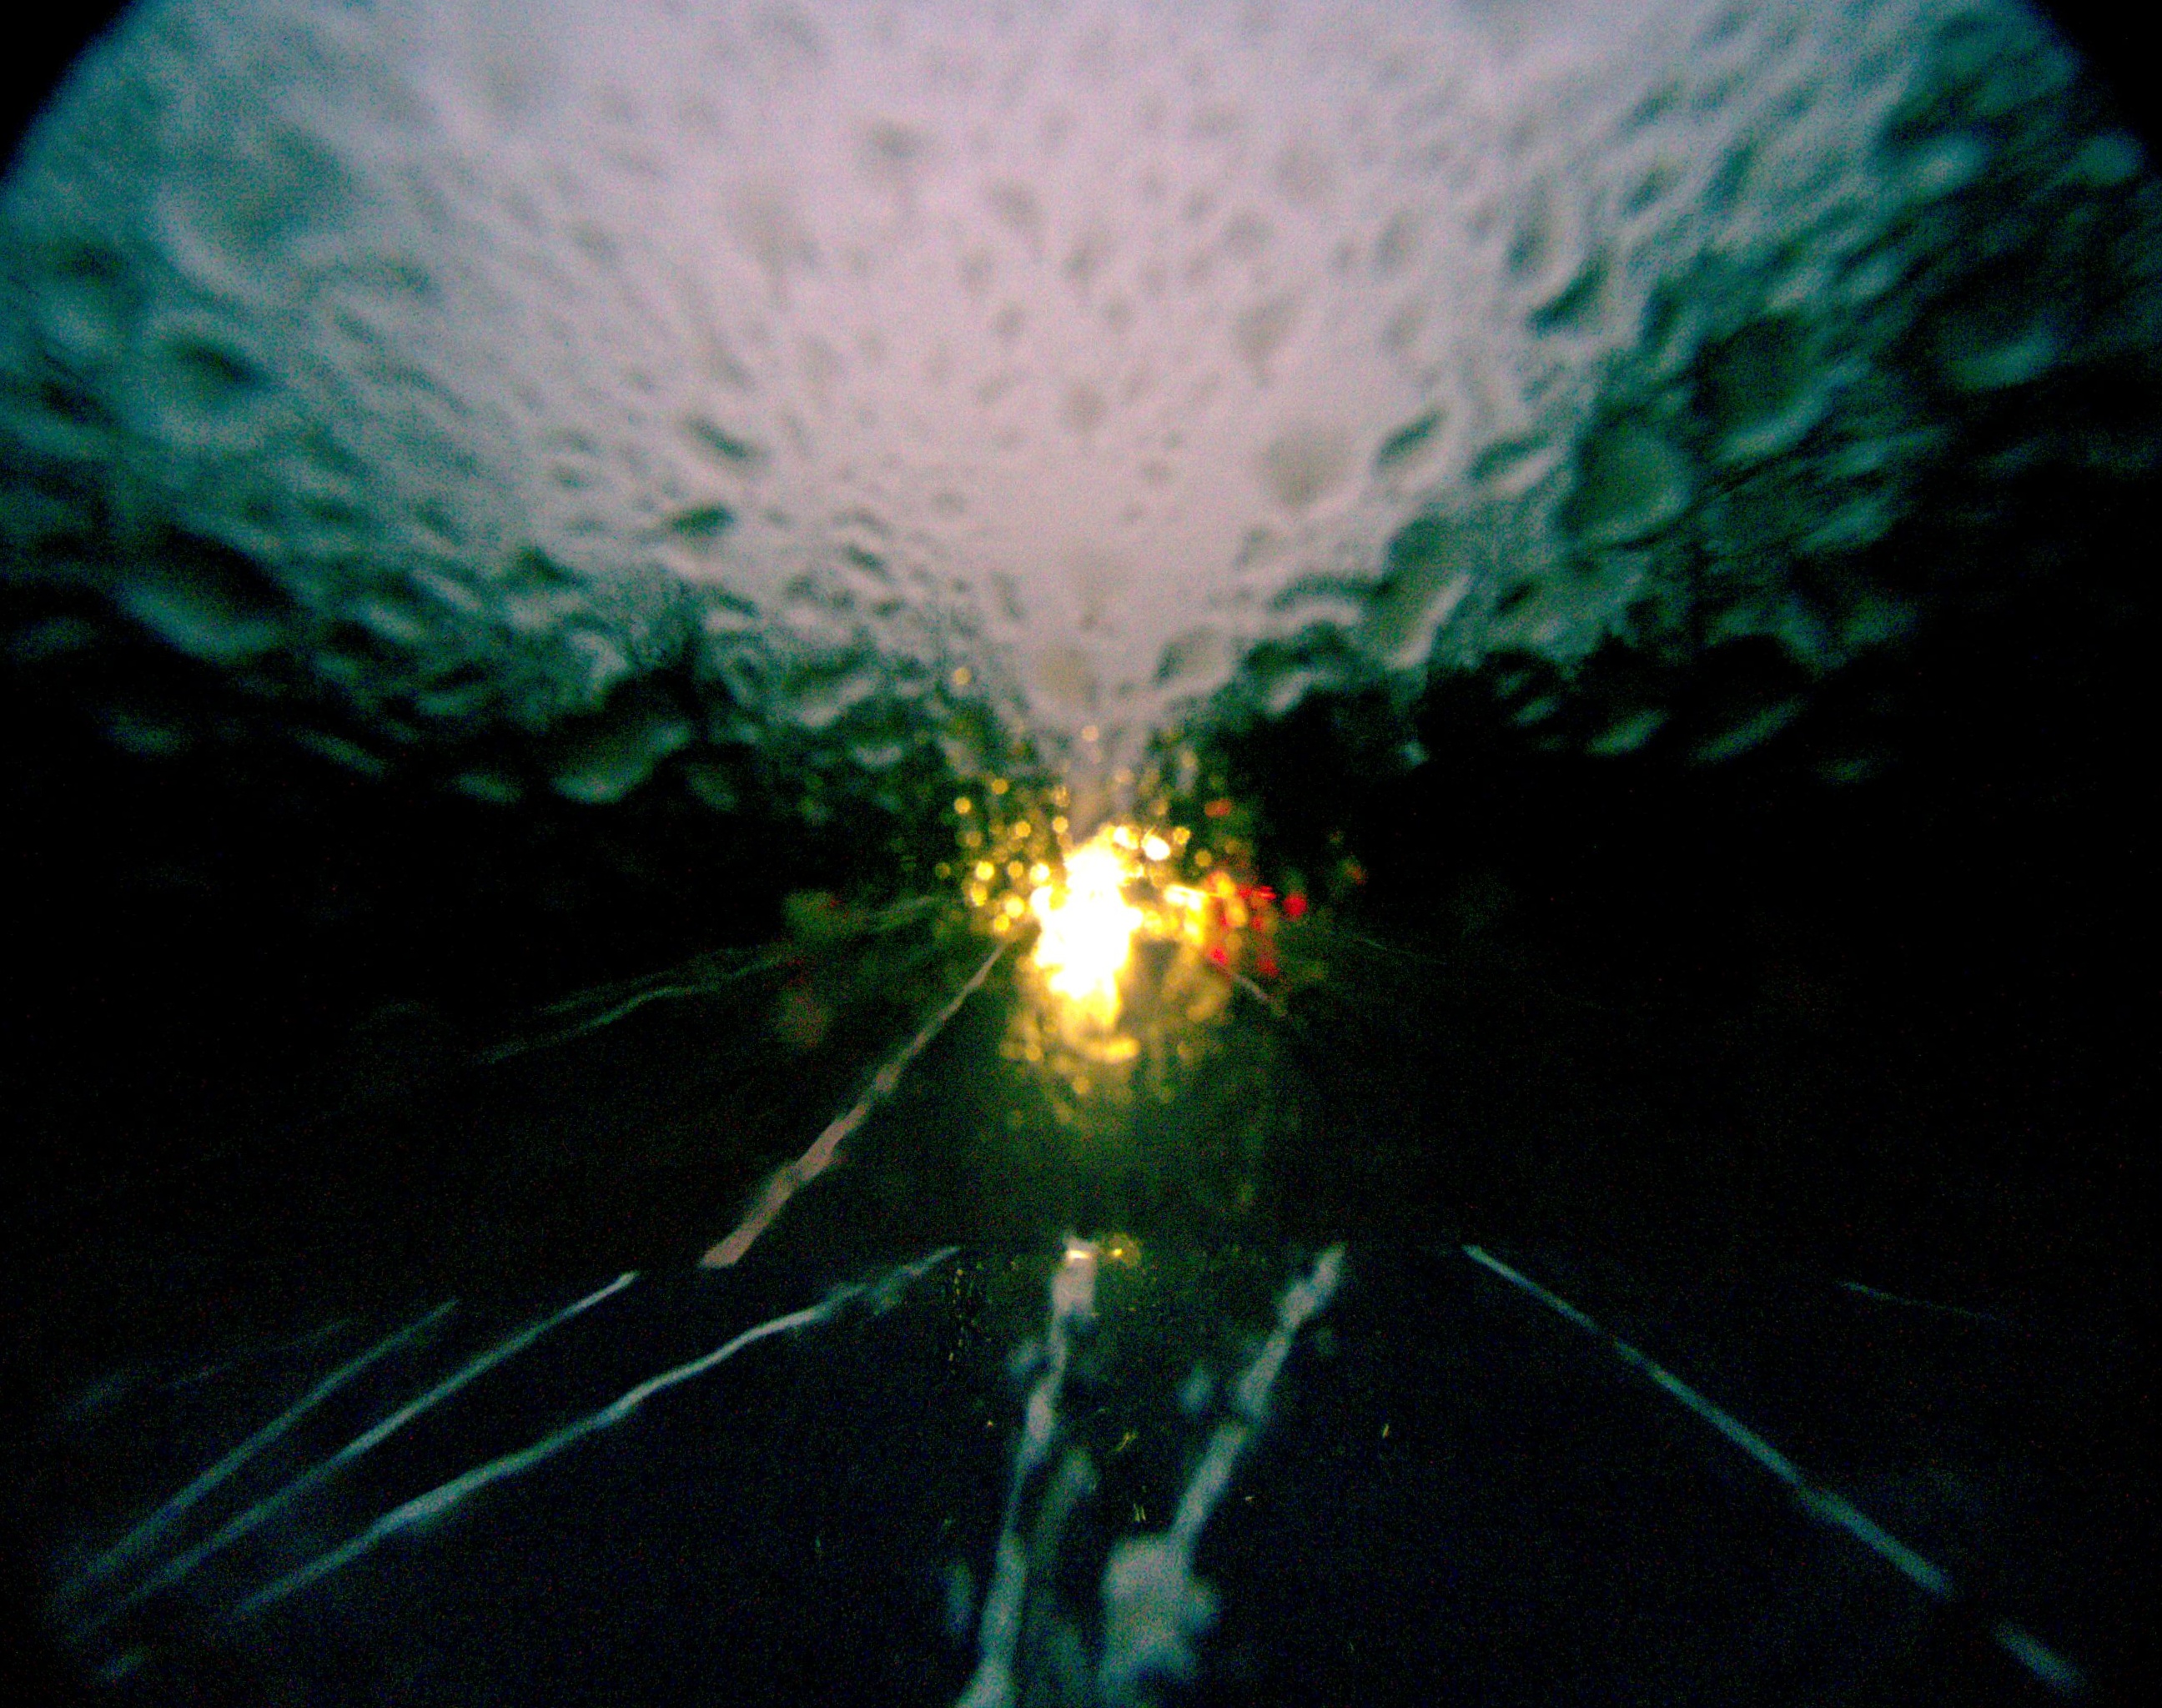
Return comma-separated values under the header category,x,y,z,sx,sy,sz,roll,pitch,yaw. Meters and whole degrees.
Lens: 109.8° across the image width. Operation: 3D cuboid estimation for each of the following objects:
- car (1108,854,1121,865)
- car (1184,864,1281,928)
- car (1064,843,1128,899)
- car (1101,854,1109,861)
category,x,y,z,sx,sy,sz,roll,pitch,yaw
car,5.164,0.831,117.317,1.979,1.559,4.928,0,0,3
car,3.685,0.980,19.138,1.695,1.411,4.000,0,0,1
car,0.699,0.660,34.052,2.542,2.213,6.169,-2,0,2
car,5.851,0.852,182.537,1.826,1.639,4.750,1,-1,1
